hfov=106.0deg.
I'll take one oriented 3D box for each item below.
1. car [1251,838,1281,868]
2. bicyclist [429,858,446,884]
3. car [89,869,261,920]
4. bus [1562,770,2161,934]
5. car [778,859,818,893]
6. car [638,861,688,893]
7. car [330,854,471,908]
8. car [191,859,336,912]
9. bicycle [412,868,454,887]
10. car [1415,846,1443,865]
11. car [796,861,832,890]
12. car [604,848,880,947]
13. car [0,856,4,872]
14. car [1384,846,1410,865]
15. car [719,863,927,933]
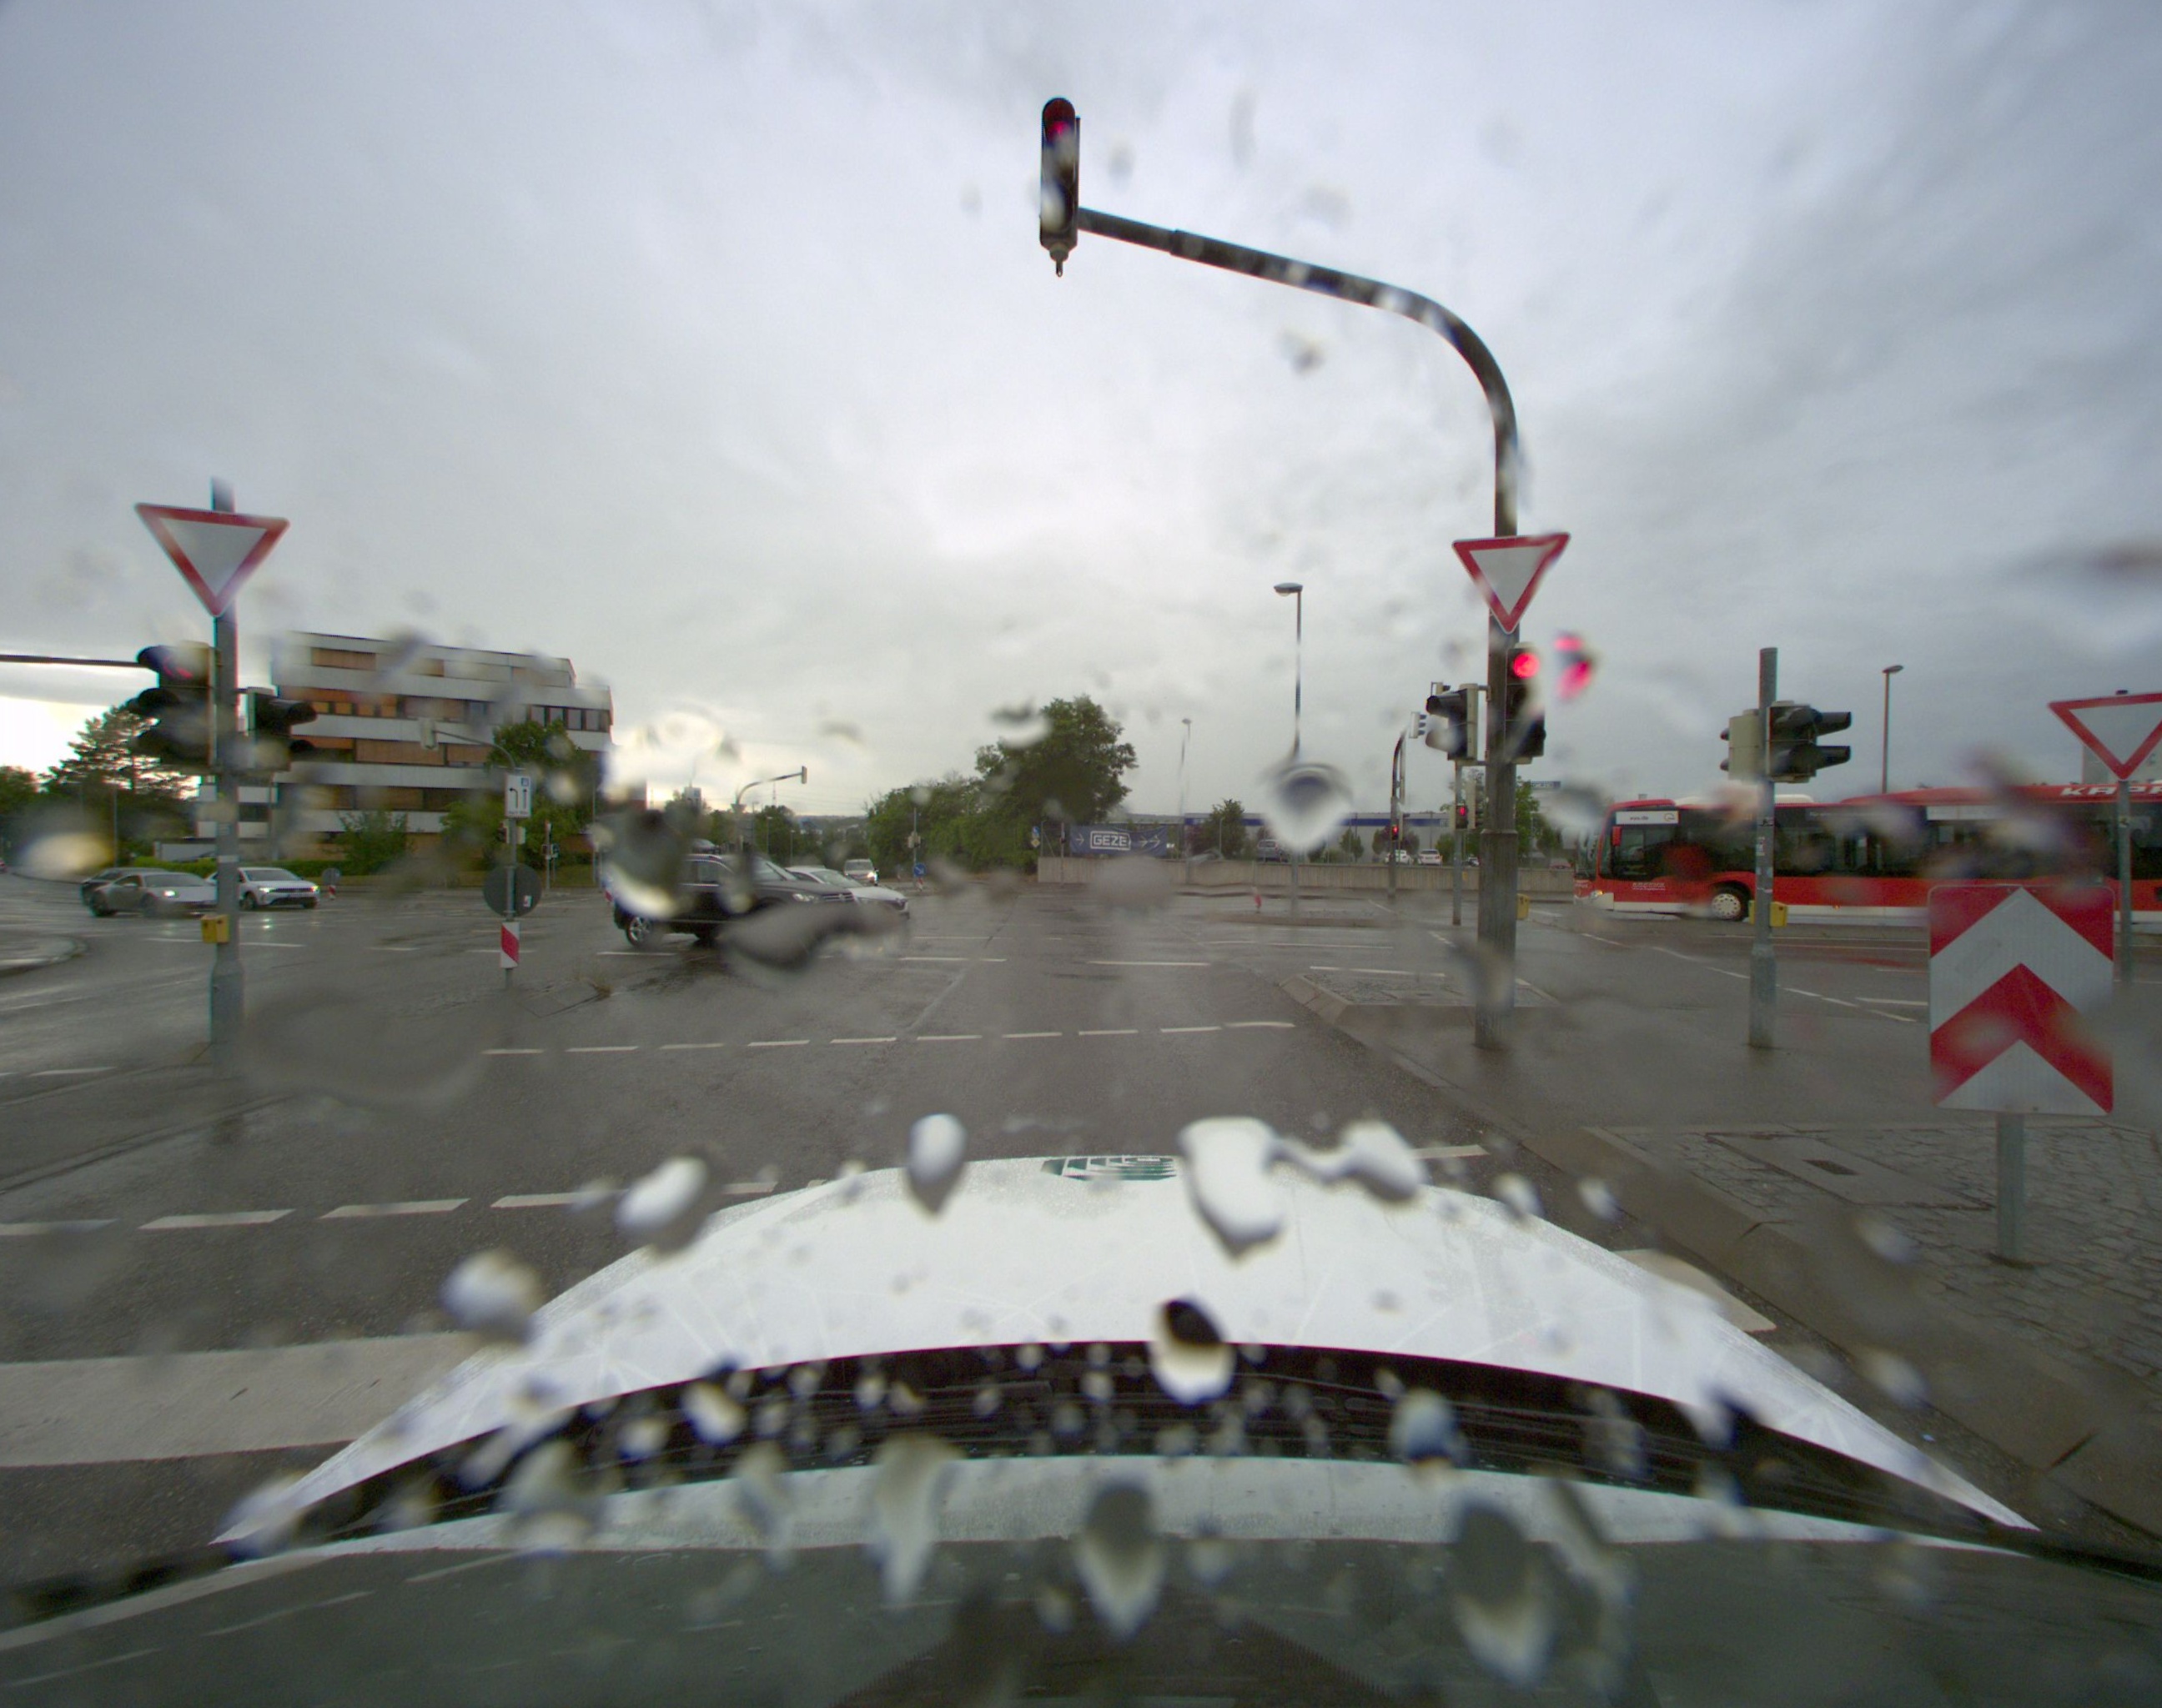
[{"bbox_3d":[13.086,-0.072,57.575,1.979,2.013,4.015,0,0,13],"label":"car"},{"bbox_3d":[-37.347,0.982,47.267,0.543,1.446,0.601,0,0,-11],"label":"bicyclist"},{"bbox_3d":[-27.297,1.170,24.558,4.396,1.358,1.866,0,0,19],"label":"car"},{"bbox_3d":[18.674,-0.122,19.280,12.176,3.321,3.090,1,0,19],"label":"bus"},{"bbox_3d":[-16.855,1.254,48.621,1.998,1.895,3.978,0,0,-16],"label":"car"},{"bbox_3d":[-26.747,1.432,52.228,1.997,1.895,3.979,0,0,-15],"label":"car"},{"bbox_3d":[-24.846,0.945,29.759,4.108,1.840,2.009,0,0,17],"label":"car"},{"bbox_3d":[-28.396,1.040,28.312,3.954,1.684,2.010,0,0,19],"label":"car"},{"bbox_3d":[-37.563,1.347,47.220,1.775,1.052,0.607,0,0,-11],"label":"bicycle"},{"bbox_3d":[28.678,0.108,67.198,1.976,1.478,4.021,0,0,21],"label":"car"},{"bbox_3d":[-18.302,1.428,55.991,1.996,1.895,3.981,0,0,-14],"label":"car"},{"bbox_3d":[-6.438,0.816,15.578,4.561,1.702,2.009,-2,0,16],"label":"car"},{"bbox_3d":[-107.211,0.968,79.701,3.948,1.596,1.969,0,0,34],"label":"car"},{"bbox_3d":[26.372,0.100,67.877,1.976,1.478,4.021,0,0,22],"label":"car"},{"bbox_3d":[-5.838,0.941,18.562,4.107,1.416,1.936,0,0,16],"label":"car"}]
